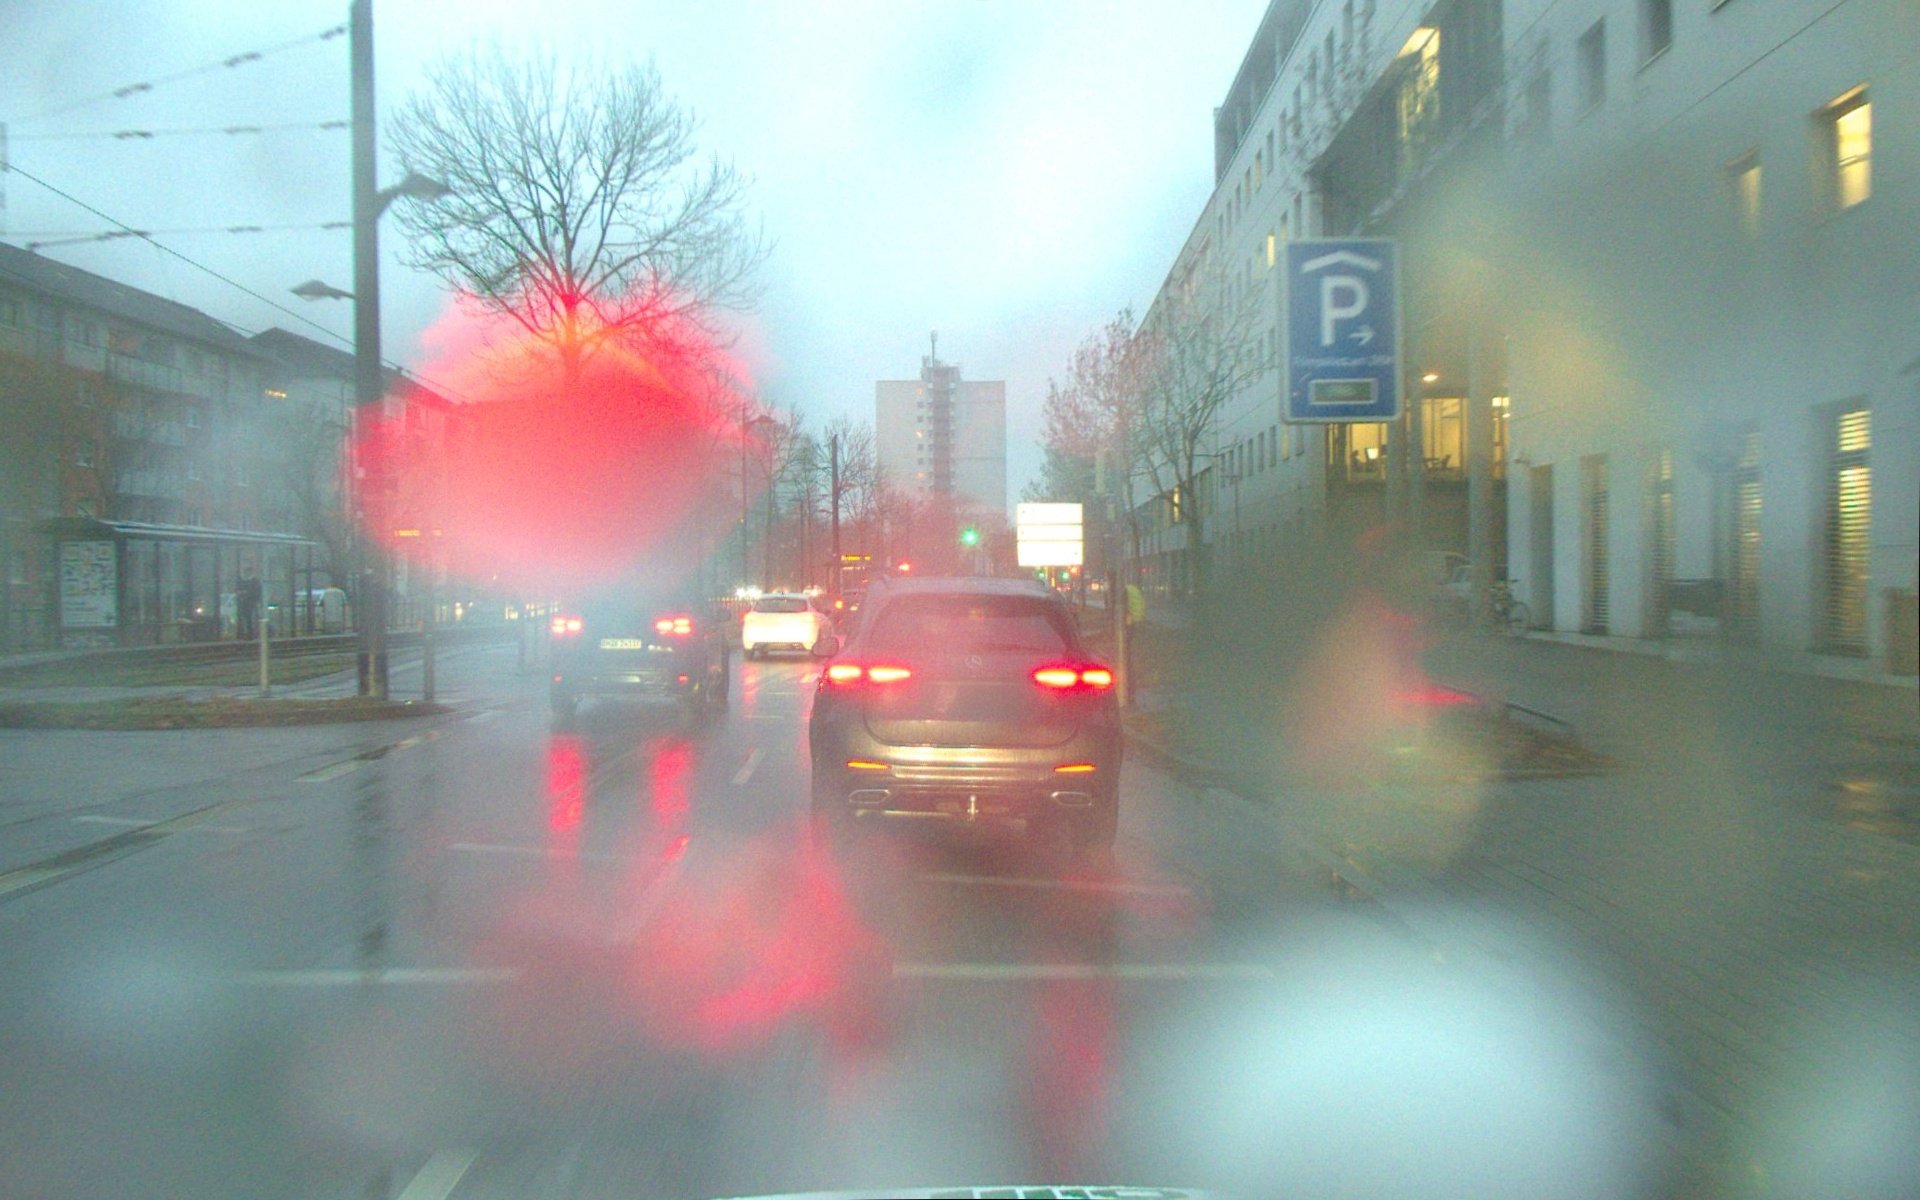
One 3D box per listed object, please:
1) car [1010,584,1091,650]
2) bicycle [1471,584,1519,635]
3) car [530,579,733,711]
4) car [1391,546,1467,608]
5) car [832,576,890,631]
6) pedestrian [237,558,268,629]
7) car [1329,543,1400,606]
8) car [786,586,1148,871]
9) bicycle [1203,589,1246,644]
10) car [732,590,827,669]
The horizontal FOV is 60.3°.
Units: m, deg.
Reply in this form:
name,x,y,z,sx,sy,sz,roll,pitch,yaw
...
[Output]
name,x,y,z,sx,sy,sz,roll,pitch,yaw
car,2.275,0.406,42.261,1.812,1.582,3.431,1,0,-1
bicycle,10.341,0.182,31.995,0.366,0.946,1.077,1,2,-13
car,-4.054,0.504,21.024,1.780,1.476,4.000,1,0,-1
car,14.081,-0.677,49.772,1.593,1.790,3.424,1,0,6
car,-3.420,0.128,57.630,1.627,1.790,3.569,1,0,2
pedestrian,-17.032,-0.158,39.830,0.483,1.685,0.463,1,0,17
car,12.178,-0.746,49.935,1.593,1.790,3.424,1,0,6
car,0.074,0.702,10.898,1.952,1.509,3.700,1,0,1
bicycle,4.890,0.299,30.602,0.534,0.982,1.346,1,0,-1
car,-4.031,0.630,37.338,1.655,1.664,3.474,1,0,1
